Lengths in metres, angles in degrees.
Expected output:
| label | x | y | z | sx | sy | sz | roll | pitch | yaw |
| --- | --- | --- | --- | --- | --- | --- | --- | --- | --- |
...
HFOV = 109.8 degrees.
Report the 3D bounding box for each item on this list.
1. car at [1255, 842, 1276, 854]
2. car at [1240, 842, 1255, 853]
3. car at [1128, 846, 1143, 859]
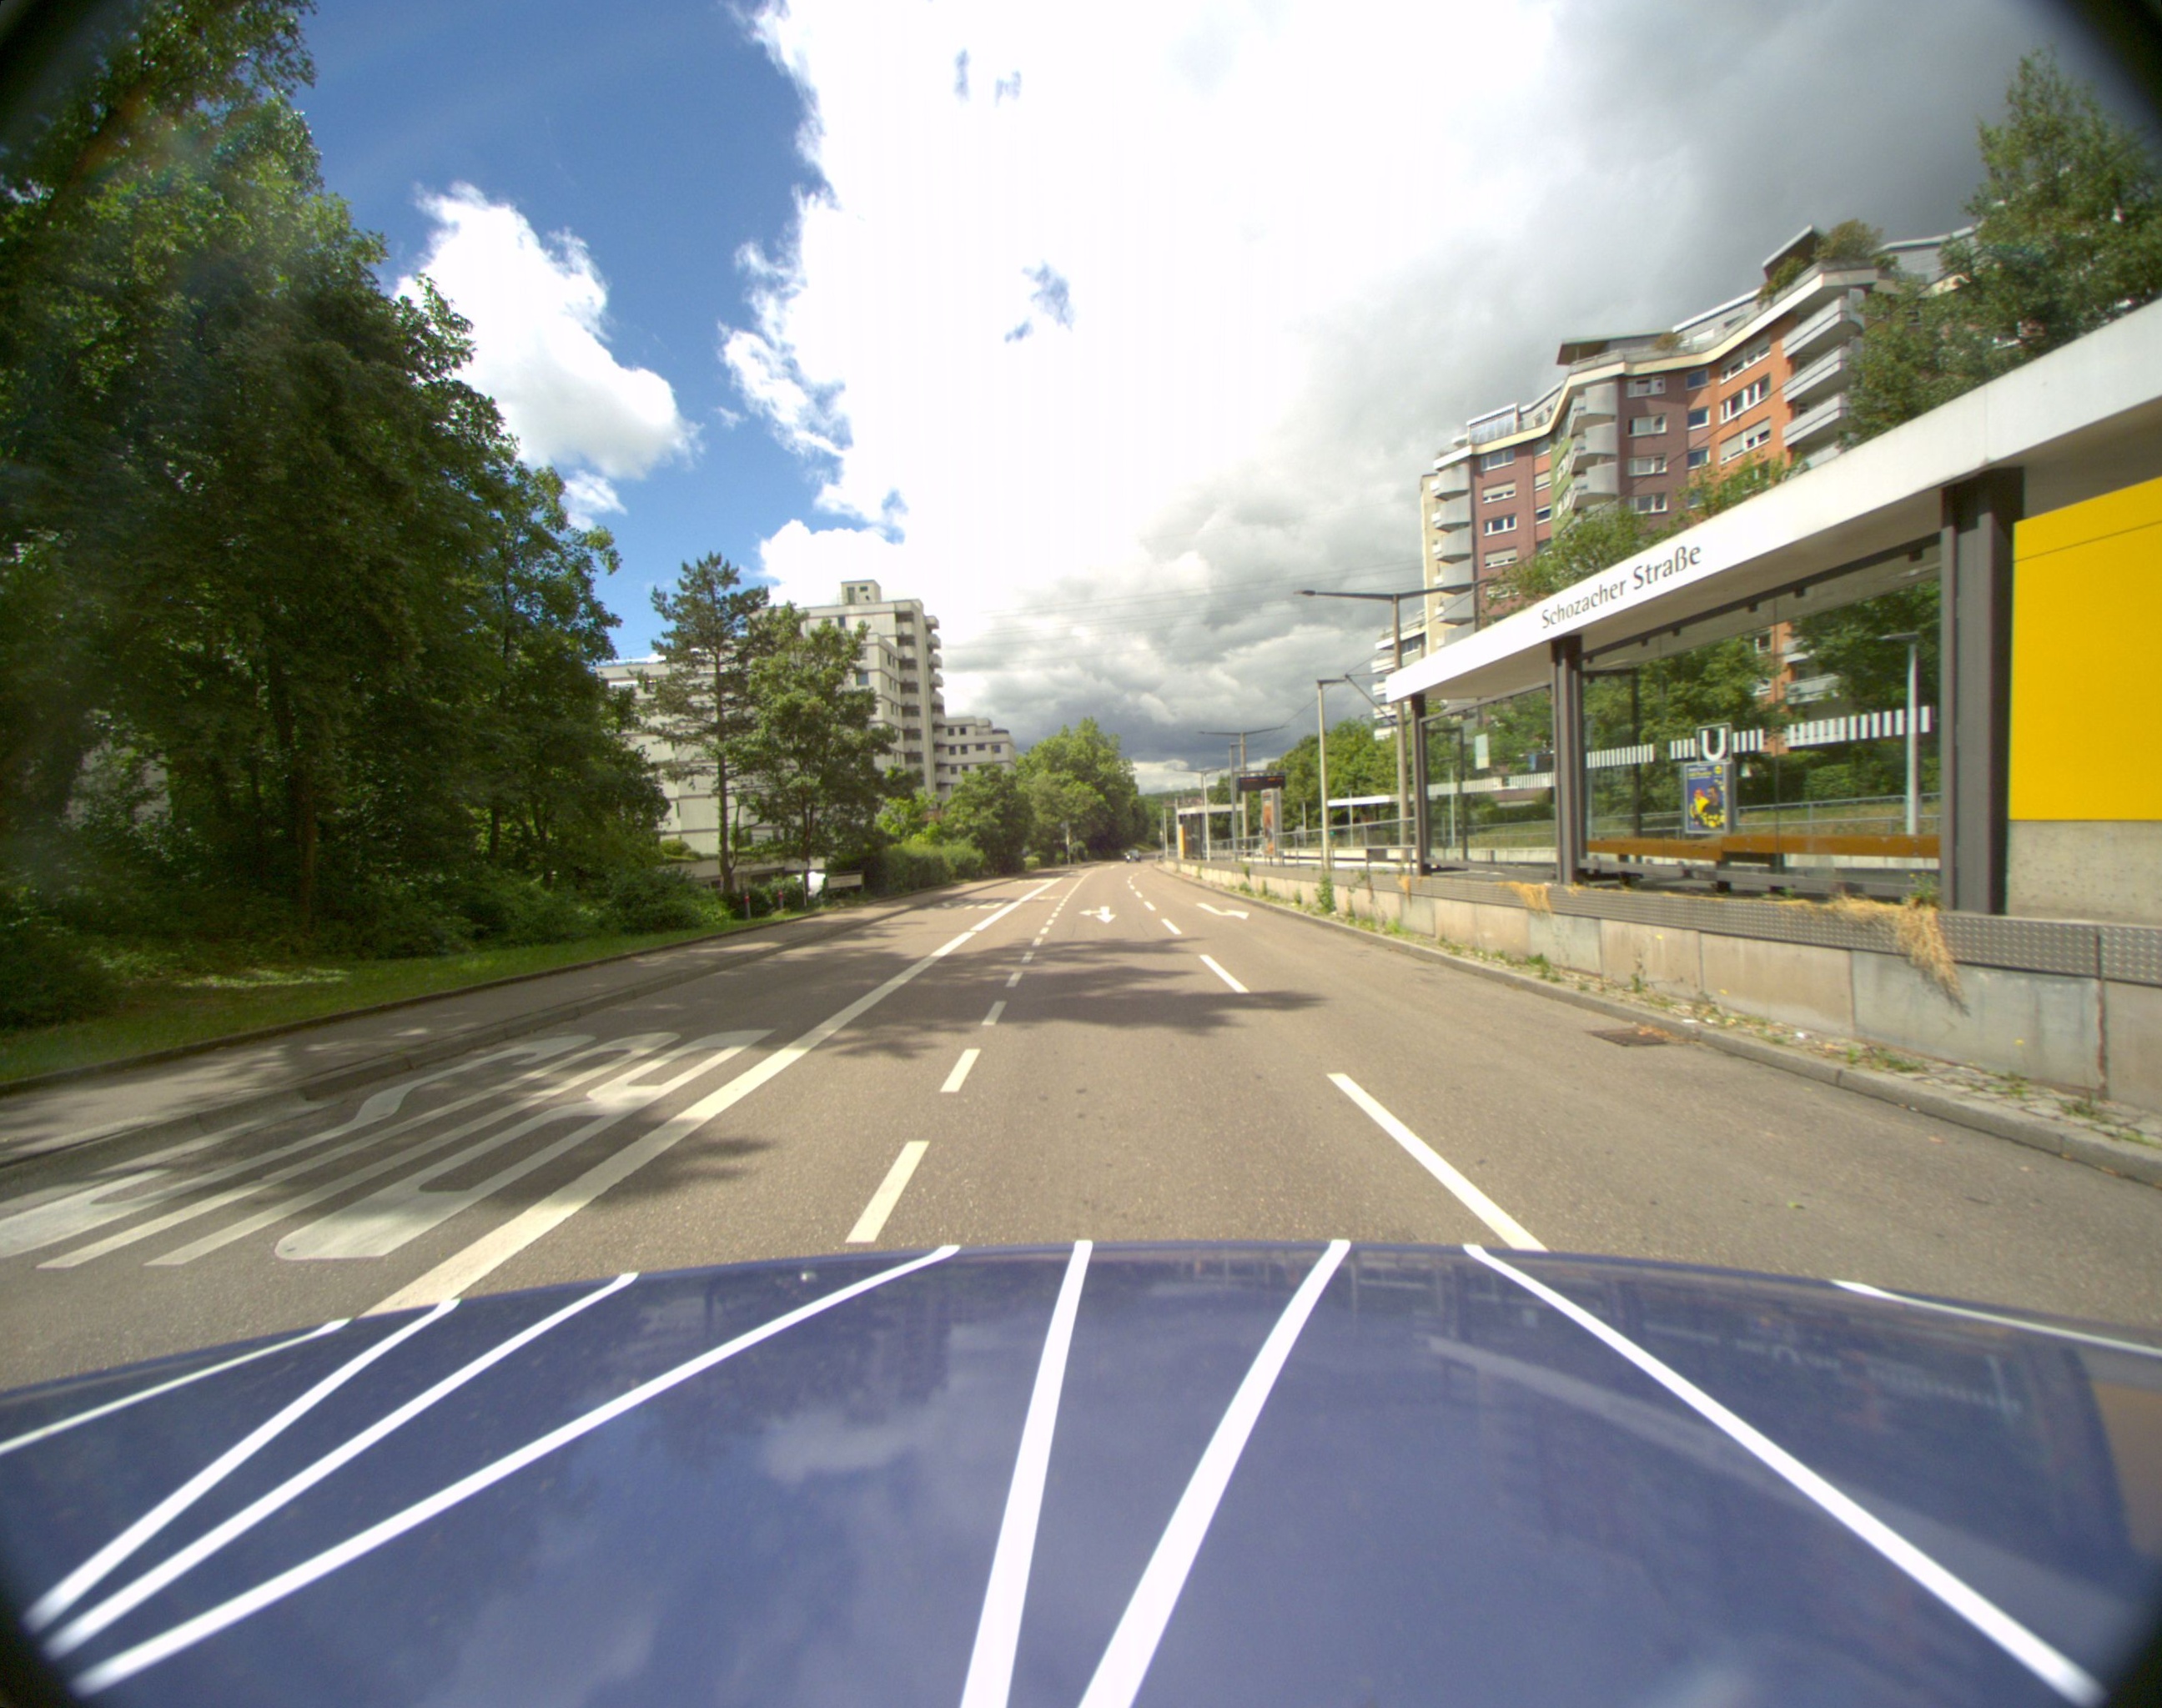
| label | x | y | z | sx | sy | sz | roll | pitch | yaw |
| --- | --- | --- | --- | --- | --- | --- | --- | --- | --- |
| car | 23.047 | -0.752 | 95.002 | 1.658 | 1.410 | 4.000 | -2 | 1 | 1 |
| car | 24.483 | -1.018 | 111.987 | 1.658 | 1.504 | 3.738 | -2 | 1 | 5 |
| car | 6.502 | -0.230 | 90.803 | 1.736 | 1.477 | 3.817 | -2 | 1 | 5 |
